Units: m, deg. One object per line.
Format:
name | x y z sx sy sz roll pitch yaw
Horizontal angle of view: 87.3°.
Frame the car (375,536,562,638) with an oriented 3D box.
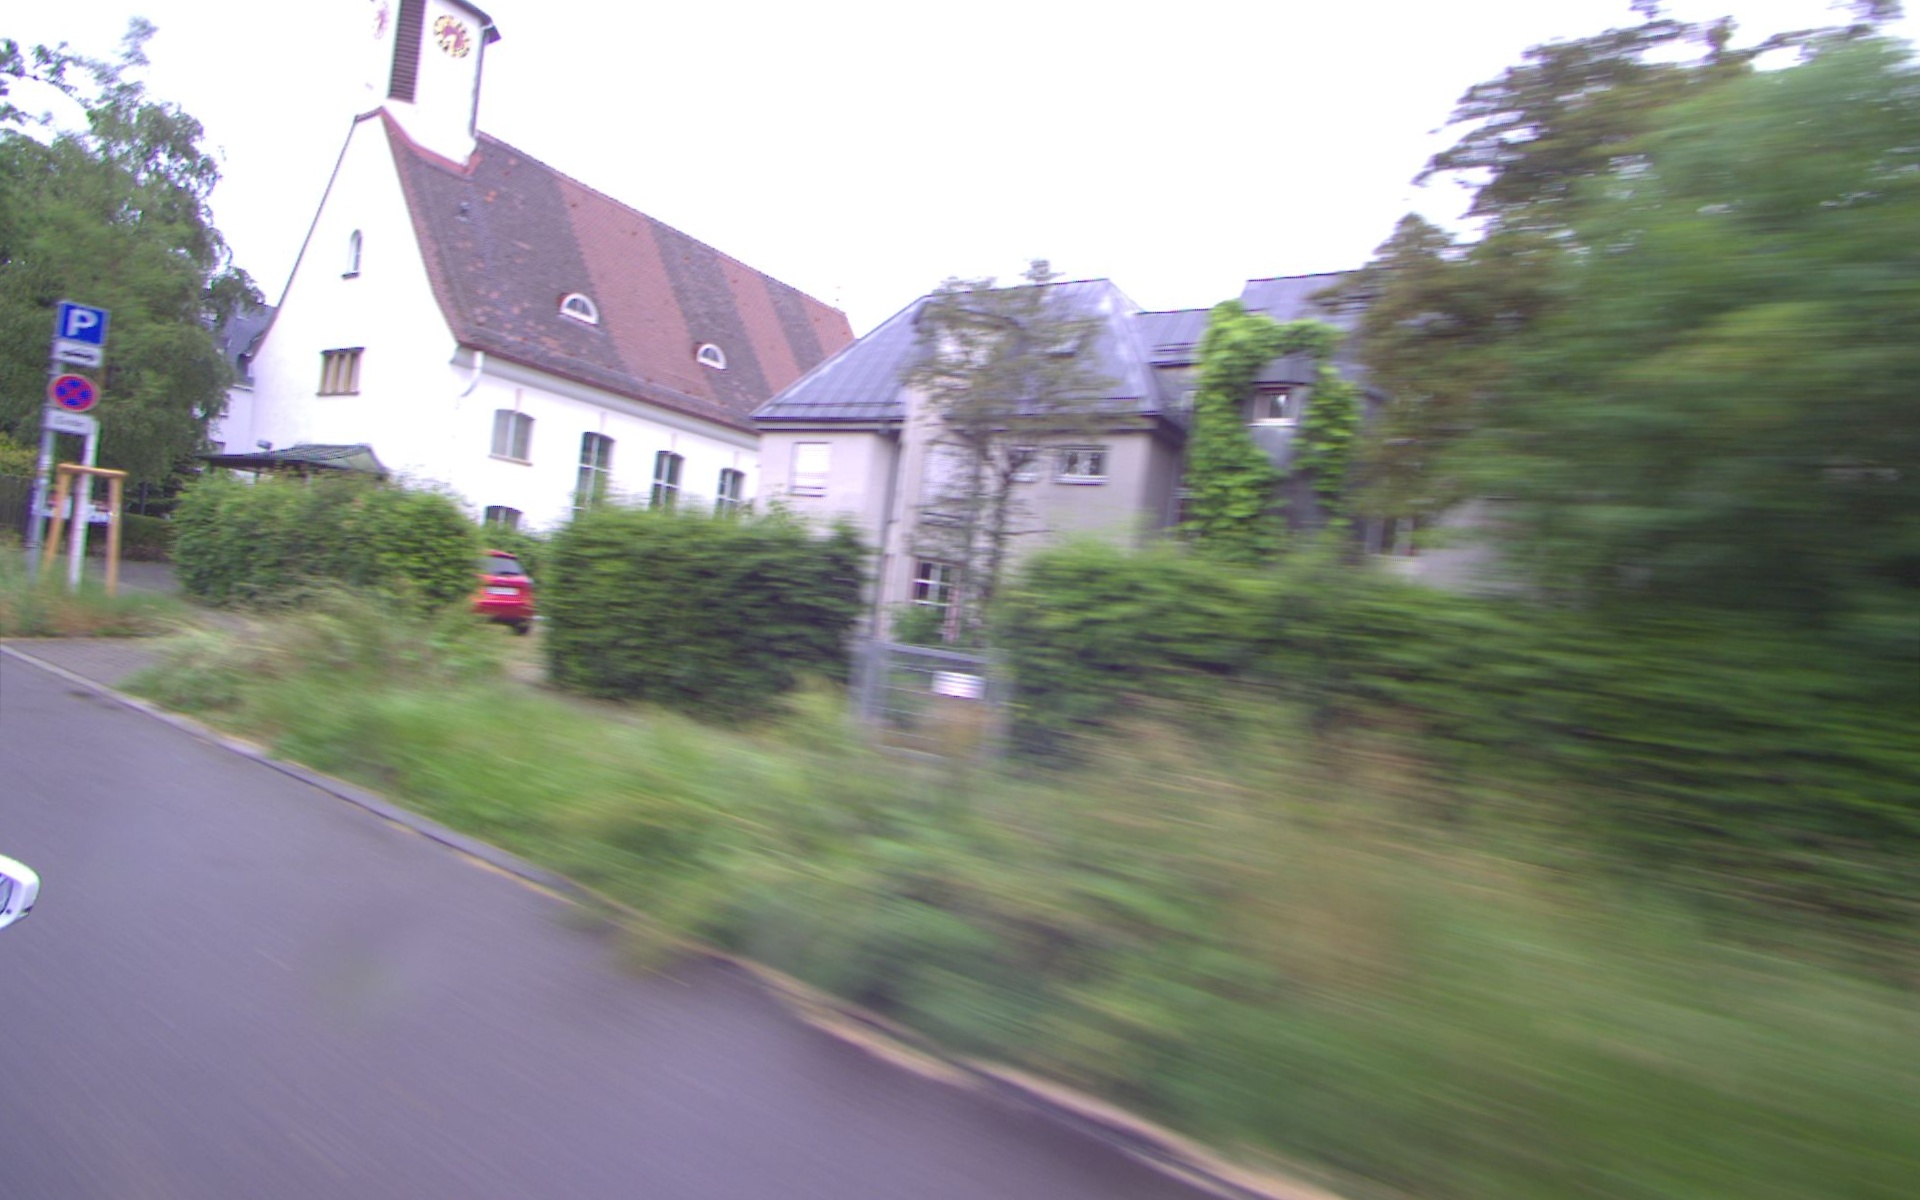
car | -9.318 -0.252 19.033 3.336 1.538 1.646 6 0 34
